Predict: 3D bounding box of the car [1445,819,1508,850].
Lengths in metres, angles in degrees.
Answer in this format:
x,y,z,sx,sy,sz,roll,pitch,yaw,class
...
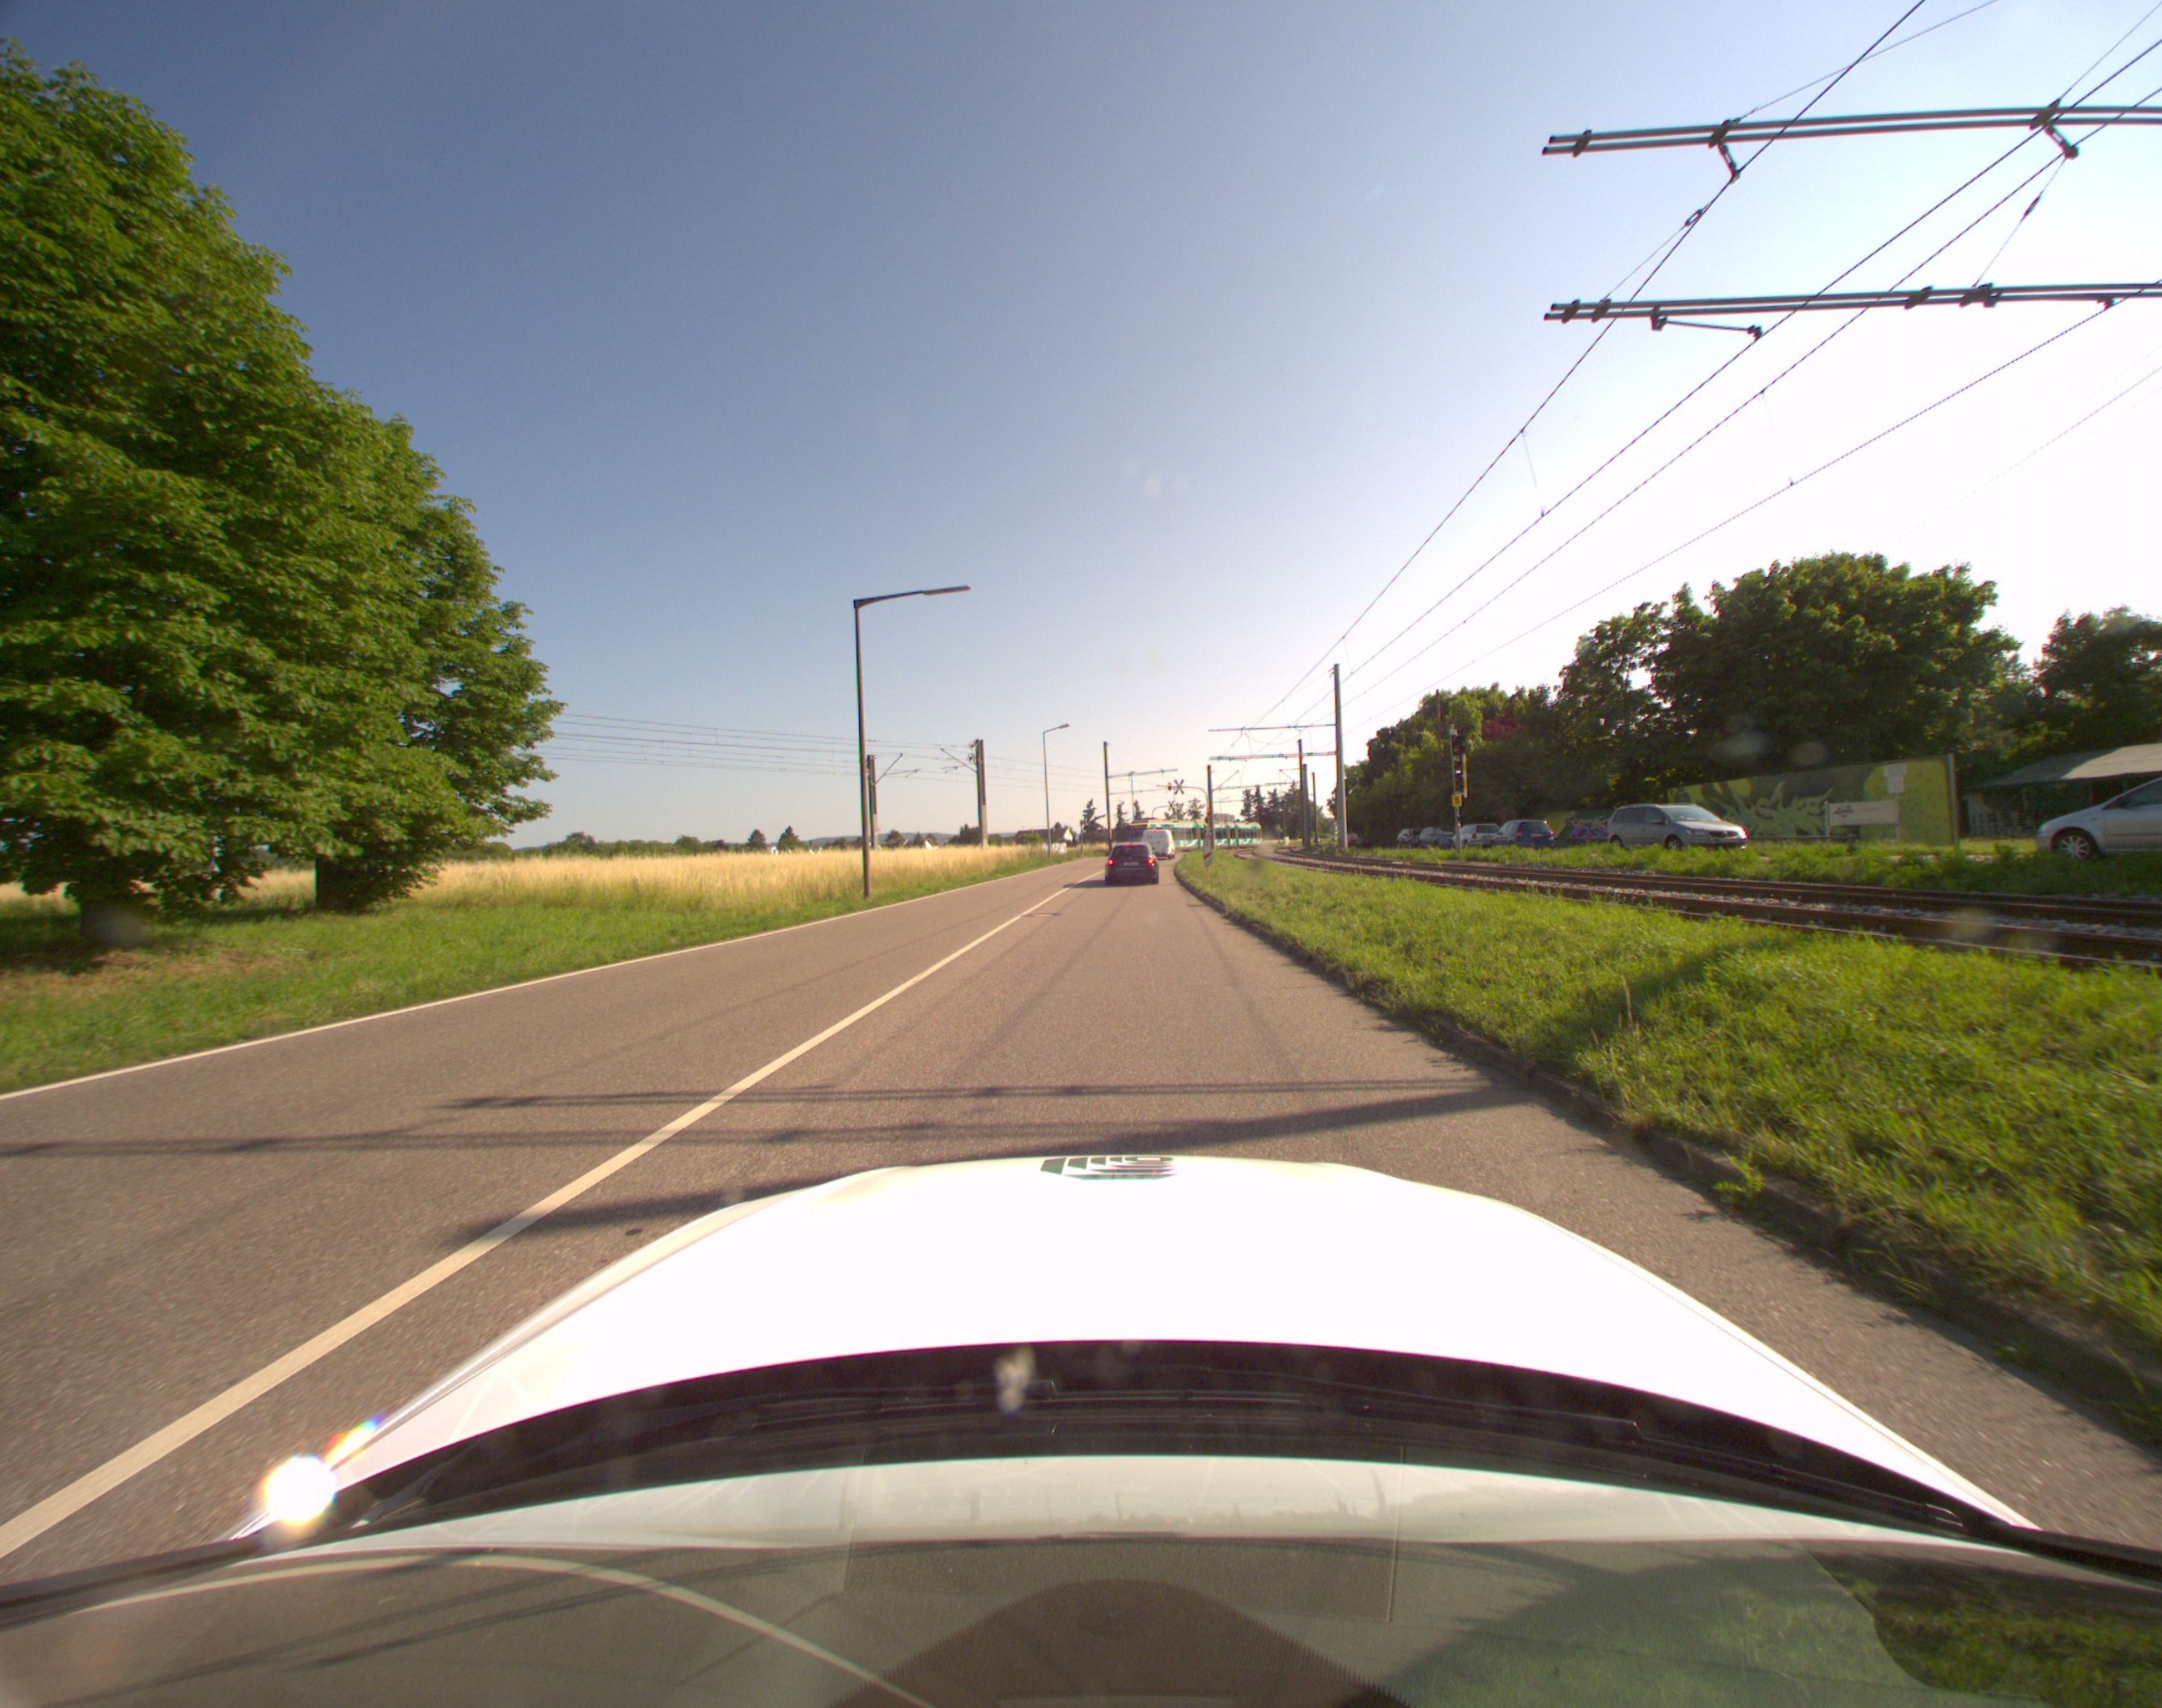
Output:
x,y,z,sx,sy,sz,roll,pitch,yaw,class
20.704,-1.011,42.823,1.699,1.465,4.401,-3,1,9,car

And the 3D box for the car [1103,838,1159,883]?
x,y,z,sx,sy,sz,roll,pitch,yaw,class
1.852,0.179,29.745,1.861,1.452,4.749,-2,1,4,car

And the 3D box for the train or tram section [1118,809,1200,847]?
x,y,z,sx,sy,sz,roll,pitch,yaw,class
8.020,-2.452,81.620,2.922,3.484,12.243,-1,0,32,train or tram section

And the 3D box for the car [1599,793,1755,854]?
x,y,z,sx,sy,sz,roll,pitch,yaw,class
18.077,-0.883,24.994,1.516,1.610,4.486,-3,1,1,car

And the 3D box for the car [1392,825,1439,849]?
x,y,z,sx,sy,sz,roll,pitch,yaw,class
21.574,-1.086,52.663,1.614,1.410,4.530,-1,1,6,car

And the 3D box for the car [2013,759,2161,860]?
x,y,z,sx,sy,sz,roll,pitch,yaw,class
17.979,-0.744,12.633,1.897,1.590,4.736,-3,1,6,car

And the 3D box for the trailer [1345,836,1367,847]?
x,y,z,sx,sy,sz,roll,pitch,yaw,class
26.105,-1.204,77.462,1.719,0.939,3.743,1,1,15,trailer

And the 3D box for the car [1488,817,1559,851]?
x,y,z,sx,sy,sz,roll,pitch,yaw,class
19.942,-0.922,36.869,1.667,1.430,3.923,-1,1,10,car

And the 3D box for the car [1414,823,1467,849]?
x,y,z,sx,sy,sz,roll,pitch,yaw,class
21.014,-1.058,47.753,1.478,1.401,4.154,-2,1,4,car

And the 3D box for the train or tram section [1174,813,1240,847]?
x,y,z,sx,sy,sz,roll,pitch,yaw,class
14.420,-2.545,92.059,2.889,3.454,12.241,-1,-1,31,train or tram section

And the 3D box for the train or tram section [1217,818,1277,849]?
x,y,z,sx,sy,sz,roll,pitch,yaw,class
21.284,-2.507,103.464,2.878,3.568,14.350,-1,-1,31,train or tram section

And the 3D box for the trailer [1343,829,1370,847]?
x,y,z,sx,sy,sz,roll,pitch,yaw,class
24.873,-1.428,73.580,2.012,1.596,4.276,0,1,14,trailer

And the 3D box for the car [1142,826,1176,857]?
x,y,z,sx,sy,sz,roll,pitch,yaw,class
5.353,-0.864,55.420,1.846,1.988,5.123,-1,1,10,car
